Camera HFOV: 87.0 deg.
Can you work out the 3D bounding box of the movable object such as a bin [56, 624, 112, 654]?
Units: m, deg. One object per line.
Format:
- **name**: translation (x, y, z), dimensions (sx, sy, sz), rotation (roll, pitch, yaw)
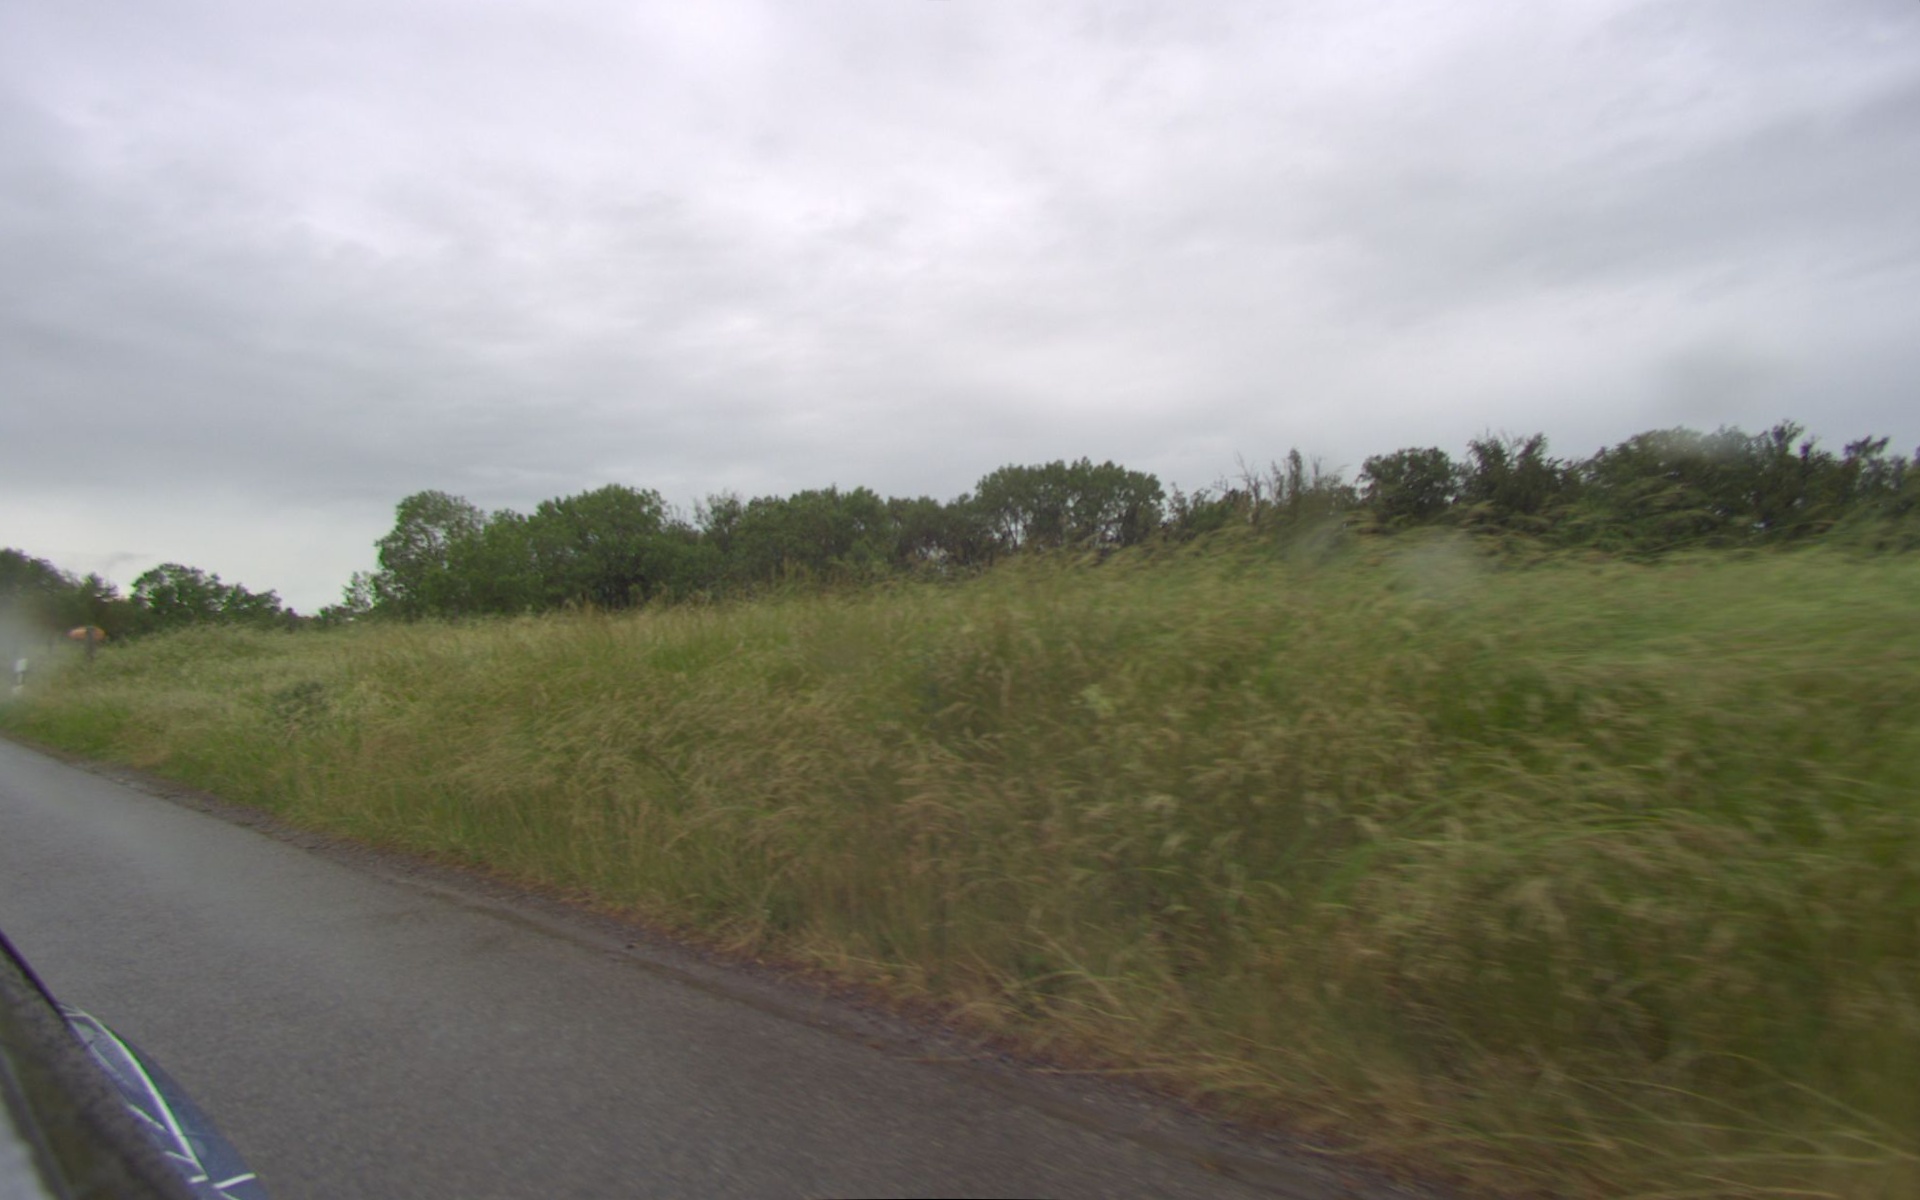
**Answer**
- **movable object such as a bin**: translation (-48.164, 2.105, 55.647), dimensions (3.533, 1.583, 1.663), rotation (-1, -1, 38)
